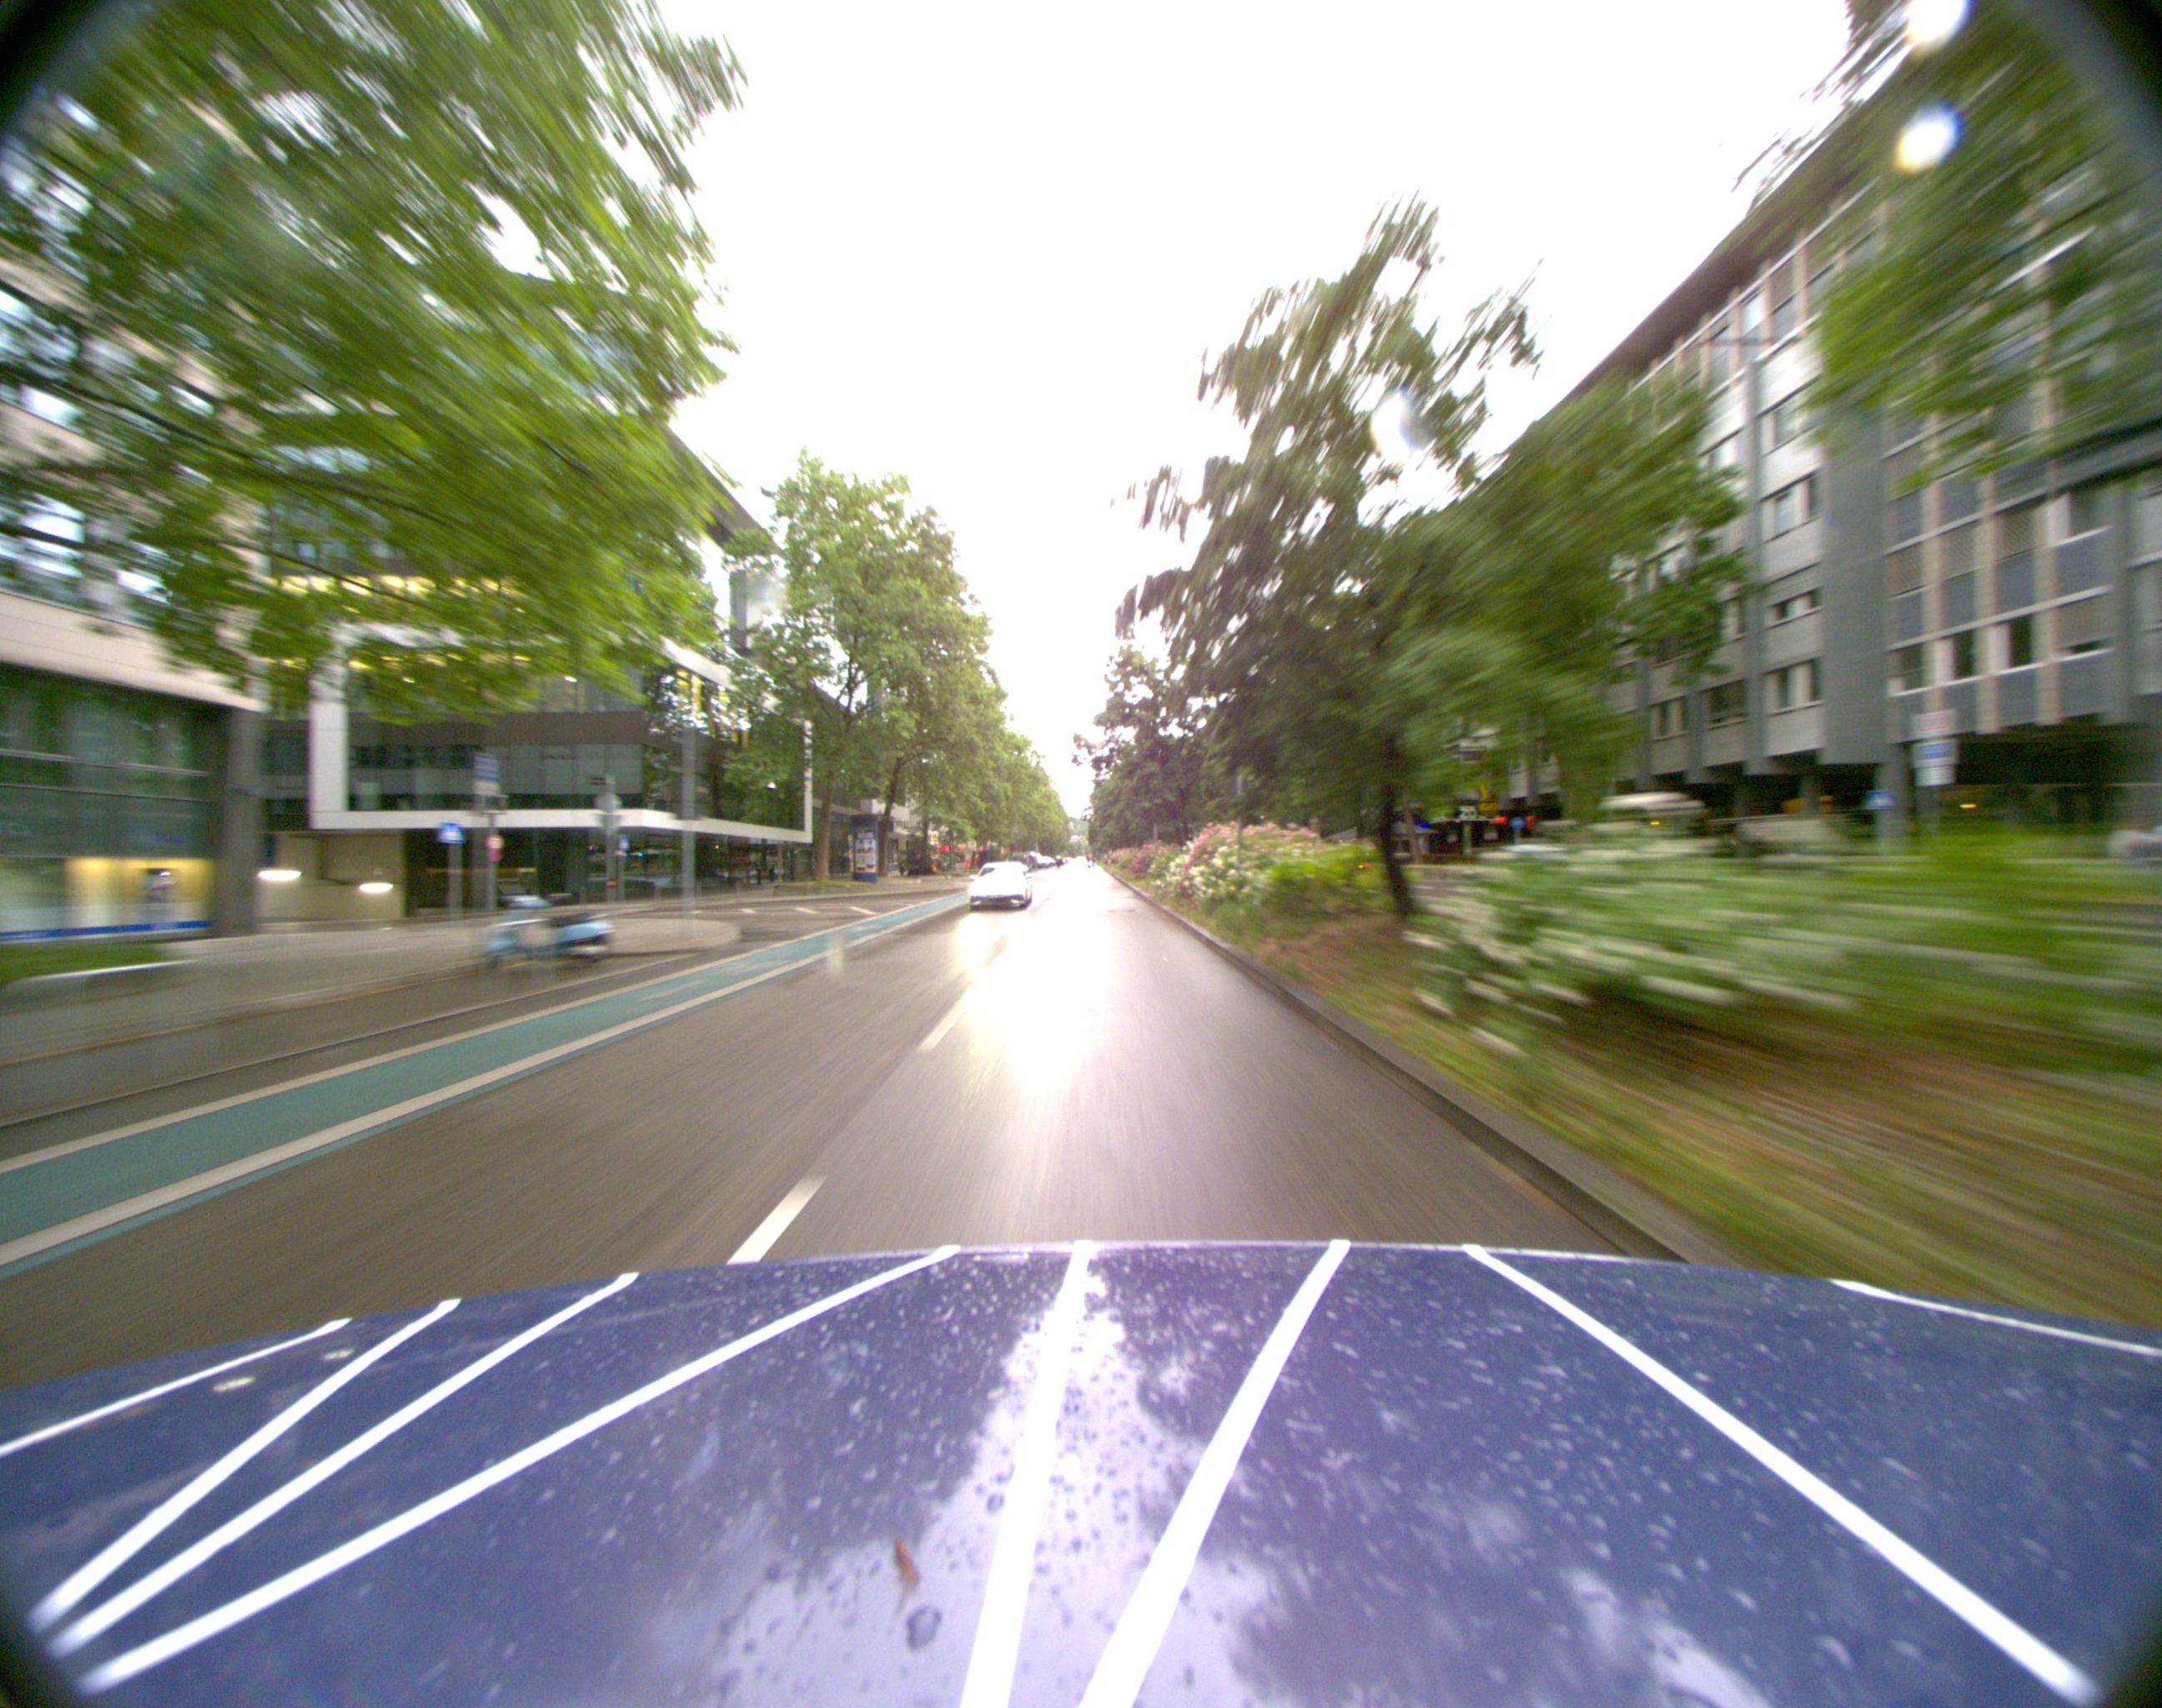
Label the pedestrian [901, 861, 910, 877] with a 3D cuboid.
[{"bbox_3d":[-15.982,1.345,69.091,0.588,1.496,1.005,0,0,1],"label":"pedestrian"}]

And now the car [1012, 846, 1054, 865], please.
[{"bbox_3d":[-7.334,0.245,116.125,6.267,2.665,2.326,-1,1,36],"label":"car"}]

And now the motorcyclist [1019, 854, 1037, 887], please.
[{"bbox_3d":[-2.565,0.804,37.186,0.744,1.575,1.059,-2,1,1],"label":"motorcyclist"}]

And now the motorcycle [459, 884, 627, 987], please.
[{"bbox_3d":[-8.093,1.169,11.511,0.683,1.359,1.950,3,1,41],"label":"motorcycle"}]

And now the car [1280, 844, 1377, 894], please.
[{"bbox_3d":[7.712,0.436,24.064,1.731,1.420,4.190,1,0,1],"label":"car"}]

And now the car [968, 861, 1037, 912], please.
[{"bbox_3d":[-2.521,1.010,25.279,1.795,1.463,3.794,-2,0,1],"label":"car"}]

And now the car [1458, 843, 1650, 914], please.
[{"bbox_3d":[10.869,0.504,17.905,1.731,1.420,4.497,1,0,1],"label":"car"}]

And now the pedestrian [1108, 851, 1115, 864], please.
[{"bbox_3d":[4.176,0.466,104.572,0.892,1.839,0.721,-2,1,-6],"label":"pedestrian"}]

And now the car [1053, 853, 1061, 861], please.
[{"bbox_3d":[-4.955,0.599,157.288,1.598,1.516,3.425,-2,0,1],"label":"car"}]

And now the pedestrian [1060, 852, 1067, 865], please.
[{"bbox_3d":[-2.512,0.657,110.124,0.892,1.839,0.786,-2,1,-13],"label":"pedestrian"}]

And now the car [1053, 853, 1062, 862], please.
[{"bbox_3d":[-4.320,0.602,140.061,1.598,1.516,3.425,-2,0,1],"label":"car"}]

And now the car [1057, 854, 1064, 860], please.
[{"bbox_3d":[-4.842,0.700,181.839,1.598,1.516,3.425,-2,0,1],"label":"car"}]

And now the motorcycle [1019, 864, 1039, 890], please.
[{"bbox_3d":[-2.549,1.111,37.271,0.744,1.194,2.235,-2,1,1],"label":"motorcycle"}]
